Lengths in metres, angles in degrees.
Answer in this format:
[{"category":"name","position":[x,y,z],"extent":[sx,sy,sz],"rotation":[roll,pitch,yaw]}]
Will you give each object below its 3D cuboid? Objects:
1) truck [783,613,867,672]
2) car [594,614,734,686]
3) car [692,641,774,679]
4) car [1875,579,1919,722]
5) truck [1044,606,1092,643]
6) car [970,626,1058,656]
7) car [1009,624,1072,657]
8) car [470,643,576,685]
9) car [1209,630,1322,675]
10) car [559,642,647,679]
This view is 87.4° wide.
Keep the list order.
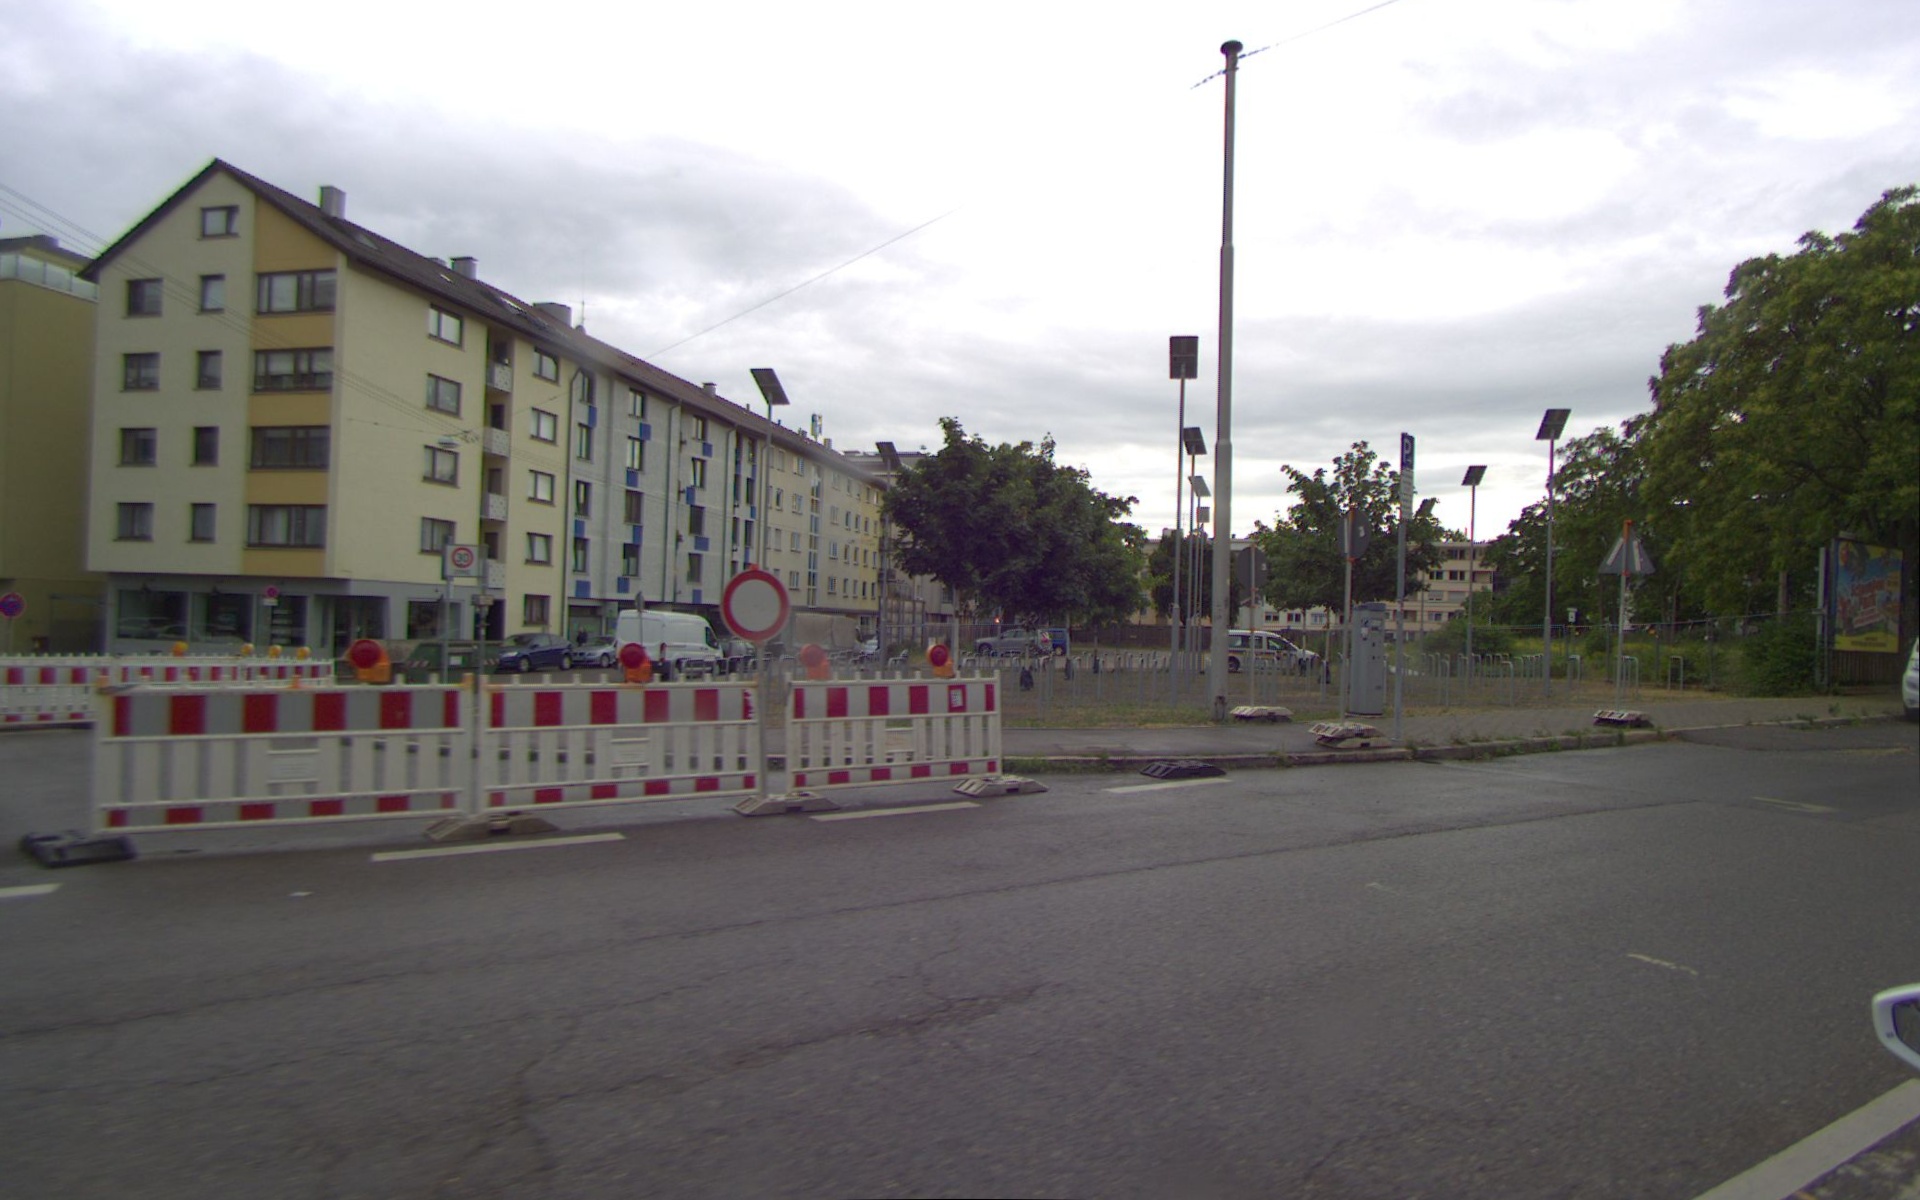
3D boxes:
[{"category":"truck","position":[-7.073,2.259,53.327],"extent":[2.724,2.970,5.294],"rotation":[-1,-2,13]},{"category":"car","position":[-10.893,1.857,37.539],"extent":[2.620,2.445,5.738],"rotation":[-1,-3,12]},{"category":"car","position":[-9.567,2.512,42.614],"extent":[1.764,1.530,4.003],"rotation":[-1,-3,14]},{"category":"car","position":[20.555,0.965,19.593],"extent":[6.462,2.613,2.219],"rotation":[1,-2,-31]},{"category":"truck","position":[16.801,3.884,154.231],"extent":[5.496,5.211,15.717],"rotation":[-1,-3,13]},{"category":"car","position":[3.219,2.414,59.325],"extent":[4.806,1.646,2.127],"rotation":[0,-4,15]},{"category":"car","position":[5.383,2.723,67.256],"extent":[3.919,2.079,1.802],"rotation":[0,-3,15]},{"category":"car","position":[-16.891,2.453,39.072],"extent":[1.764,1.530,4.003],"rotation":[-1,-3,13]},{"category":"car","position":[13.317,2.261,44.045],"extent":[4.597,1.858,2.001],"rotation":[0,-1,12]},{"category":"car","position":[-15.703,2.653,44.368],"extent":[1.764,1.530,4.003],"rotation":[-1,-3,14]}]
